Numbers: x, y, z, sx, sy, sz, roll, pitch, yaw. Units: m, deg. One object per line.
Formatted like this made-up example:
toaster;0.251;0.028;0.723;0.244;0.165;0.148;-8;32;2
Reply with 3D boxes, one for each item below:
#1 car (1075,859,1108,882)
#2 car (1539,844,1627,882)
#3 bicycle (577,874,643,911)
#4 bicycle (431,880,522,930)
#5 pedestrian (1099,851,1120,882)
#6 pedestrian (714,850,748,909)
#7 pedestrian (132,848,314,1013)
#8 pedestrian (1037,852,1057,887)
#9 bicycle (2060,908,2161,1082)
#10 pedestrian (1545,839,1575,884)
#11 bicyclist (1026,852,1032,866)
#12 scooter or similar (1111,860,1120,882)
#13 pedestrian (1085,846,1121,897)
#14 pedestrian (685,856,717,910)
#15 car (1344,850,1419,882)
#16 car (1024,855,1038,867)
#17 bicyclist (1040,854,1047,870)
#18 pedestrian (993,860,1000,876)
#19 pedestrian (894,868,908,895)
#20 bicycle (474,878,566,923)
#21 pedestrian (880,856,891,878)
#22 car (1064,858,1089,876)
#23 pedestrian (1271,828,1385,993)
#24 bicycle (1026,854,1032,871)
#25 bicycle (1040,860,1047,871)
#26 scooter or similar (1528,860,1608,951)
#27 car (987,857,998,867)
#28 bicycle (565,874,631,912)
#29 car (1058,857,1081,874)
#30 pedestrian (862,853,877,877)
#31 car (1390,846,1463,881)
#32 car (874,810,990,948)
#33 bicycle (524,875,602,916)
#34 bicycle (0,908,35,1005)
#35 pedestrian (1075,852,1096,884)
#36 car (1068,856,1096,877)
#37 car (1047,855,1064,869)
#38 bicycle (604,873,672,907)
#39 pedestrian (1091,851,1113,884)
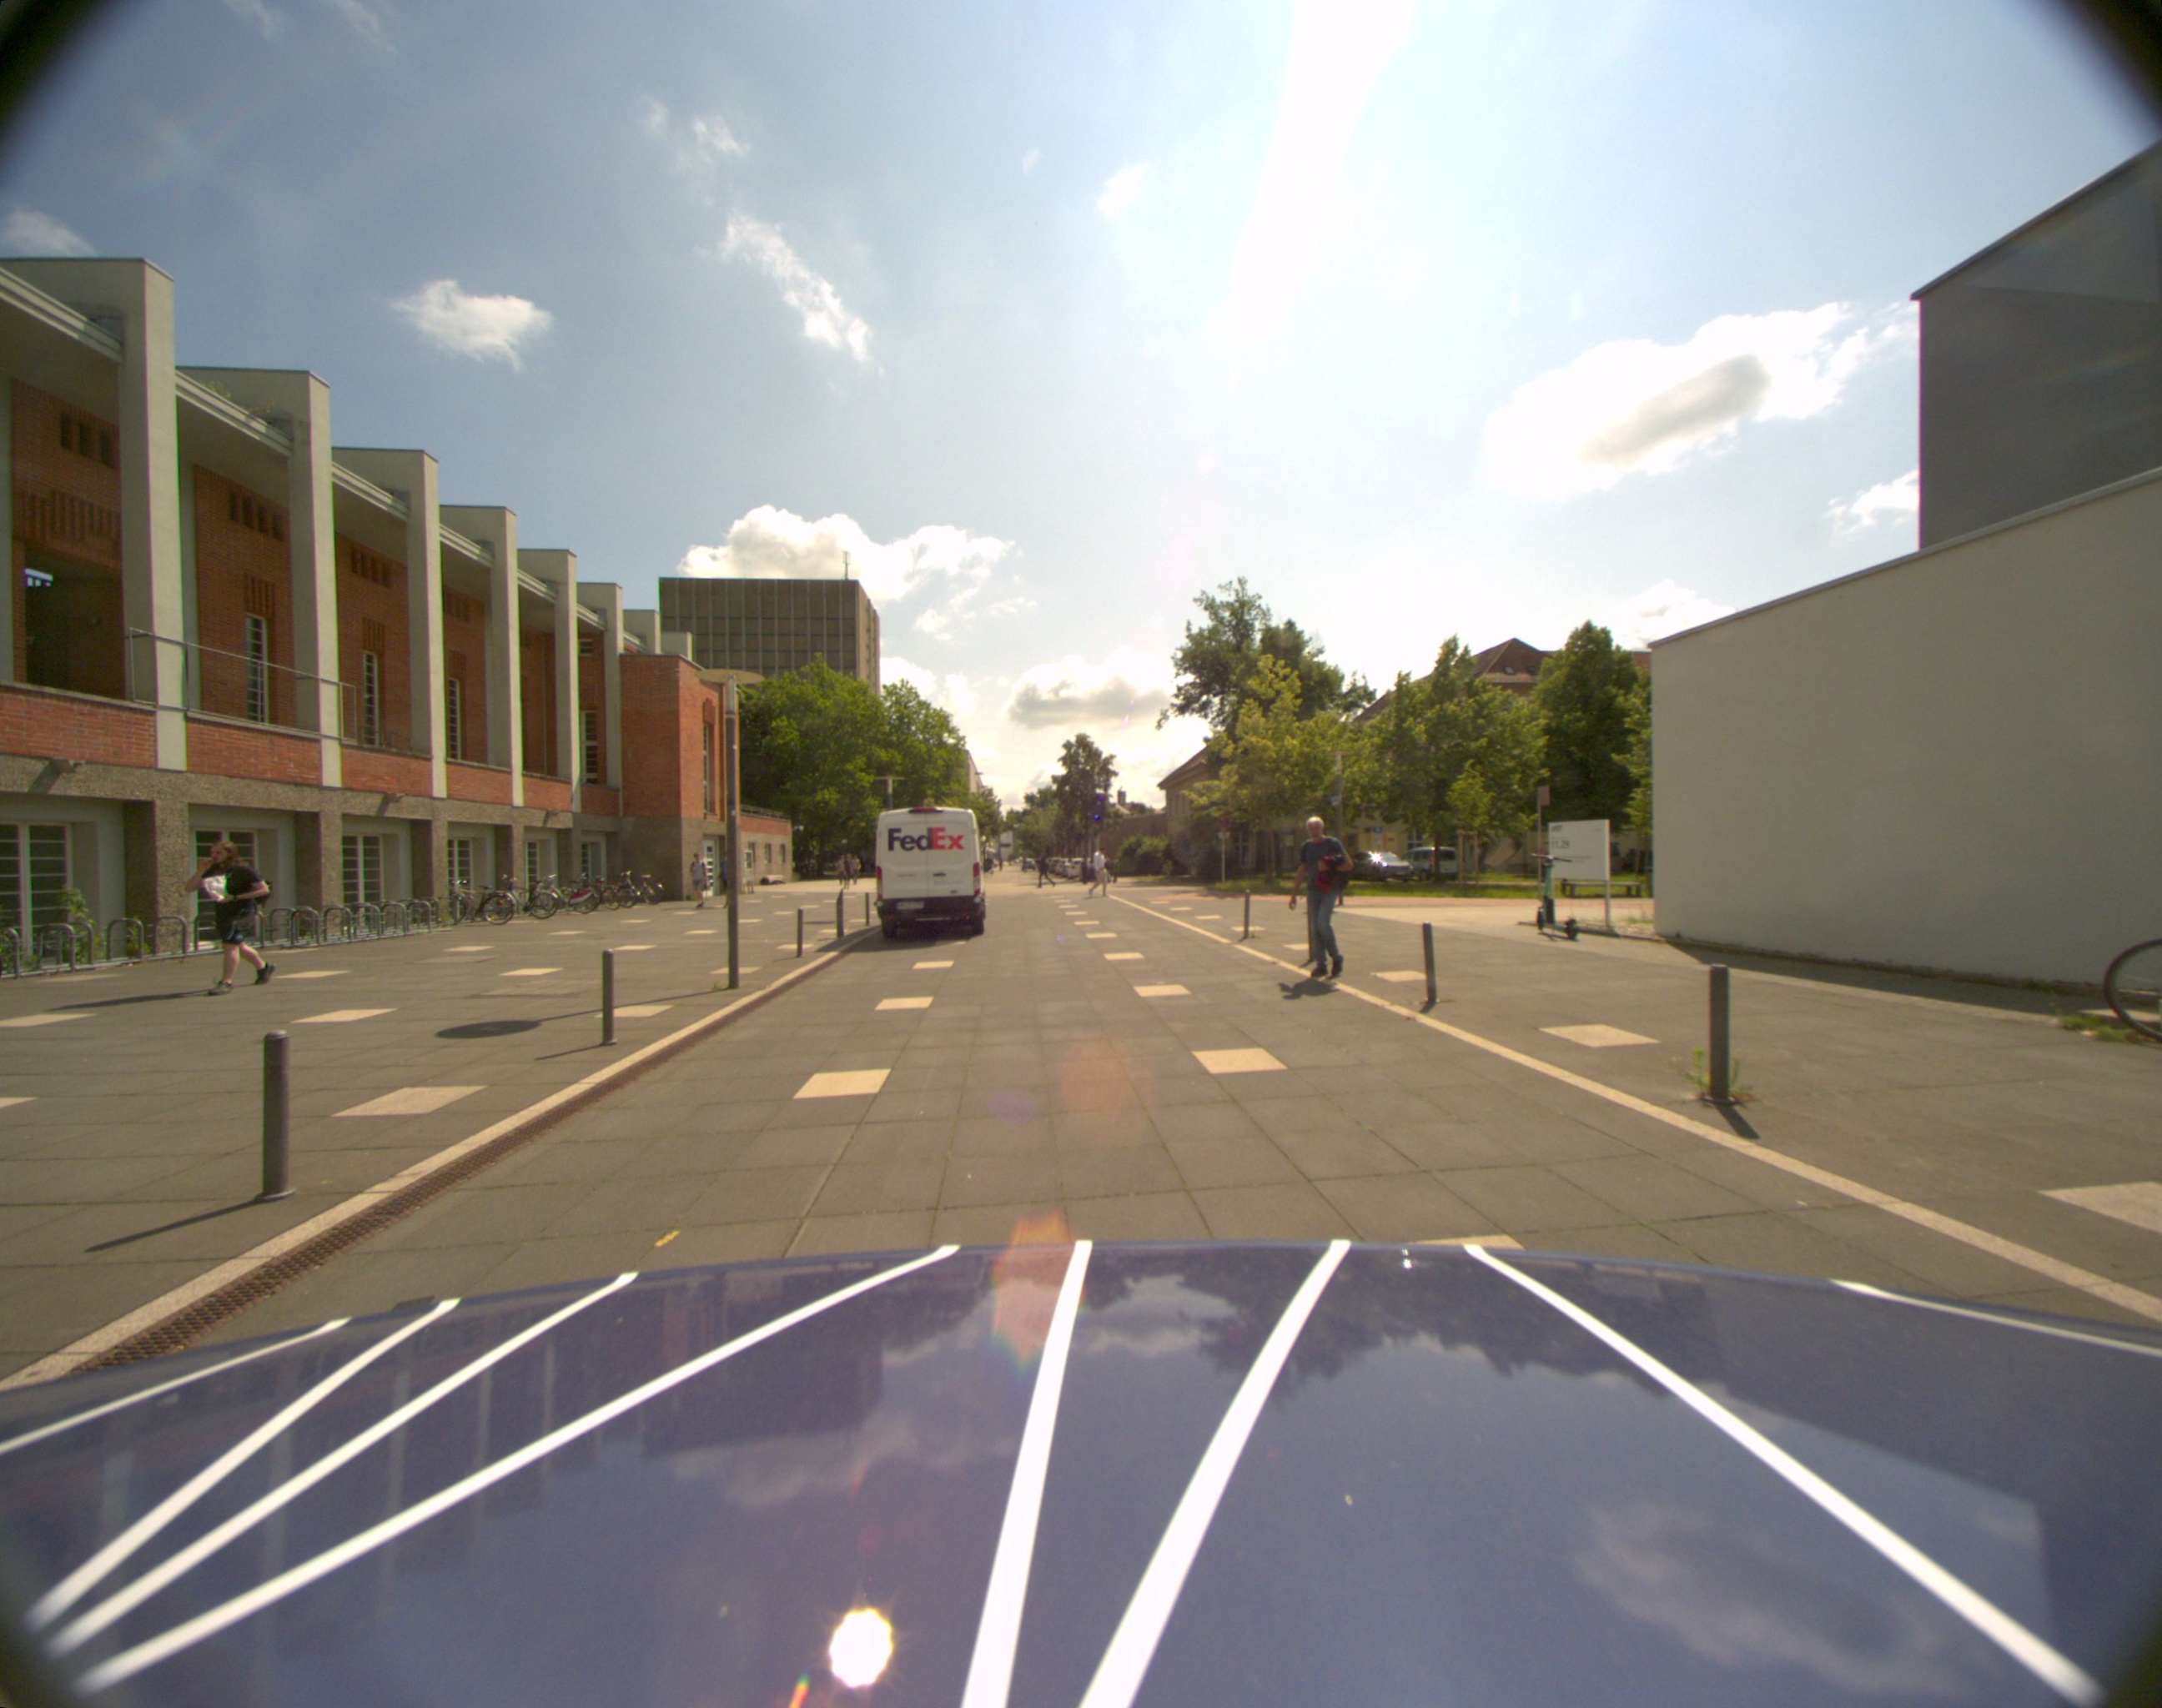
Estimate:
car;0.601;0.961;46.053;1.701;1.287;3.761;-1;0;-4
car;27.864;0.425;42.400;1.811;1.949;4.525;-1;1;-2
bicycle;-14.735;1.193;23.784;1.699;1.103;0.435;-1;1;-7
bicycle;-14.294;1.197;17.991;1.687;1.103;0.435;-1;1;-7
pedestrian;1.588;0.708;42.542;0.970;1.706;0.559;-1;1;34
pedestrian;-11.388;0.810;24.776;0.666;1.879;1.109;0;1;-5
pedestrian;-10.181;0.848;9.090;0.847;1.823;1.196;-1;1;-10
pedestrian;-1.768;0.800;39.463;0.871;1.776;0.570;0;0;19
bicycle;7.083;0.907;4.340;0.544;1.055;1.899;-1;0;0
pedestrian;19.502;0.285;30.928;0.871;1.778;0.636;0;5;17
bicyclist;-5.268;0.527;77.341;0.588;1.444;1.233;-1;0;-4
scooter or similar;1.936;0.966;42.782;0.471;1.209;1.204;-1;0;0
pedestrian;0.835;0.646;28.216;1.022;1.837;0.918;1;0;26
pedestrian;-12.257;0.917;24.524;0.586;1.697;1.001;0;1;-5
car;16.242;0.593;41.395;1.900;1.572;4.646;-1;1;-6
car;-7.043;0.903;106.381;1.933;1.624;4.370;-1;0;-4
bicyclist;-3.846;0.853;77.801;0.630;1.596;1.328;-1;0;-7
pedestrian;-7.814;1.261;69.997;0.585;1.433;0.638;0;0;-4
pedestrian;-11.659;1.755;49.139;0.785;1.666;1.078;0;1;-10
bicycle;-14.491;1.188;19.655;1.917;1.103;0.435;-1;1;-7
pedestrian;-16.241;1.048;63.044;0.783;1.780;0.713;0;0;-26
car;-0.388;0.983;58.828;1.649;1.368;3.998;-1;0;-4
pedestrian;2.886;0.624;8.984;0.826;1.807;1.143;-1;1;-10
bicycle;-5.261;0.863;77.362;0.588;1.670;1.758;-1;0;-4
bicycle;-3.834;1.160;77.746;0.626;1.135;1.811;-1;0;-7
scooter or similar;7.274;0.737;11.404;0.483;1.255;1.314;-1;0;8
car;-16.315;1.474;140.345;2.000;1.648;3.997;-1;0;-7
bicycle;-14.663;1.178;23.091;1.655;1.103;0.435;-1;1;-7
car;-1.041;0.975;66.954;1.718;1.424;3.998;-1;0;-4
pedestrian;-17.619;0.883;63.219;0.984;1.935;0.976;-2;1;-27
car;18.788;0.475;41.500;1.812;1.776;4.121;-1;1;-6
car;-3.116;0.459;17.052;2.065;2.528;5.846;-1;0;-7
bicycle;-14.618;1.175;21.463;1.802;1.103;0.435;-1;1;-7
bicycle;-13.416;1.217;8.830;1.687;1.103;0.435;-1;1;-7
pedestrian;0.256;0.742;40.979;0.623;1.706;1.002;0;0;-42
car;0.023;0.841;52.607;1.635;1.422;3.631;-1;0;-5
car;-3.199;0.996;93.956;1.933;1.624;4.370;-1;0;-4
bicycle;-14.893;1.211;25.583;1.936;1.103;0.456;-1;1;-7
pedestrian;1.155;0.738;41.852;0.898;1.776;0.728;0;1;42
